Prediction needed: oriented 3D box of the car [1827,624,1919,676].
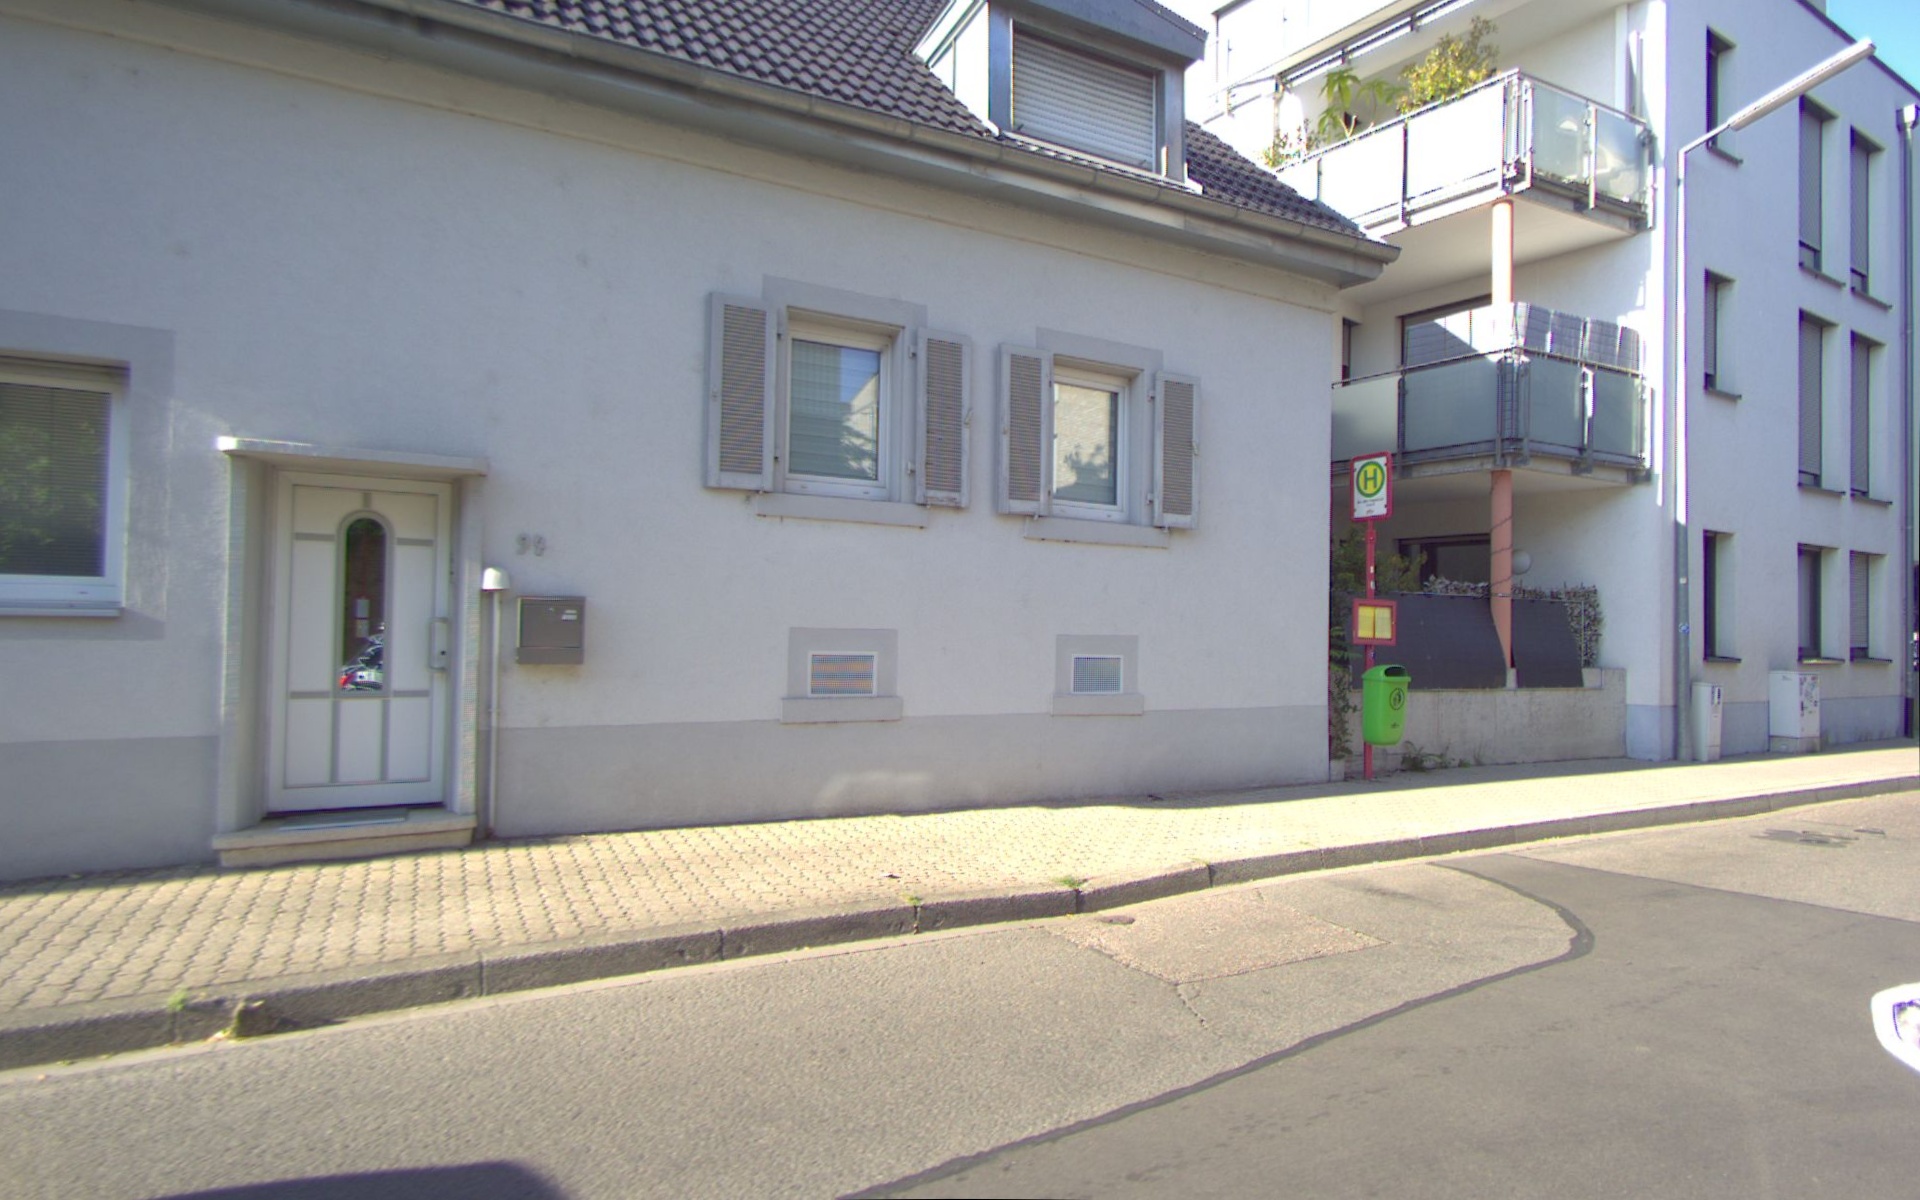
[{"bbox_3d":[30.327,1.634,32.893,4.097,1.468,1.709,3,2,-32],"label":"car"}]
